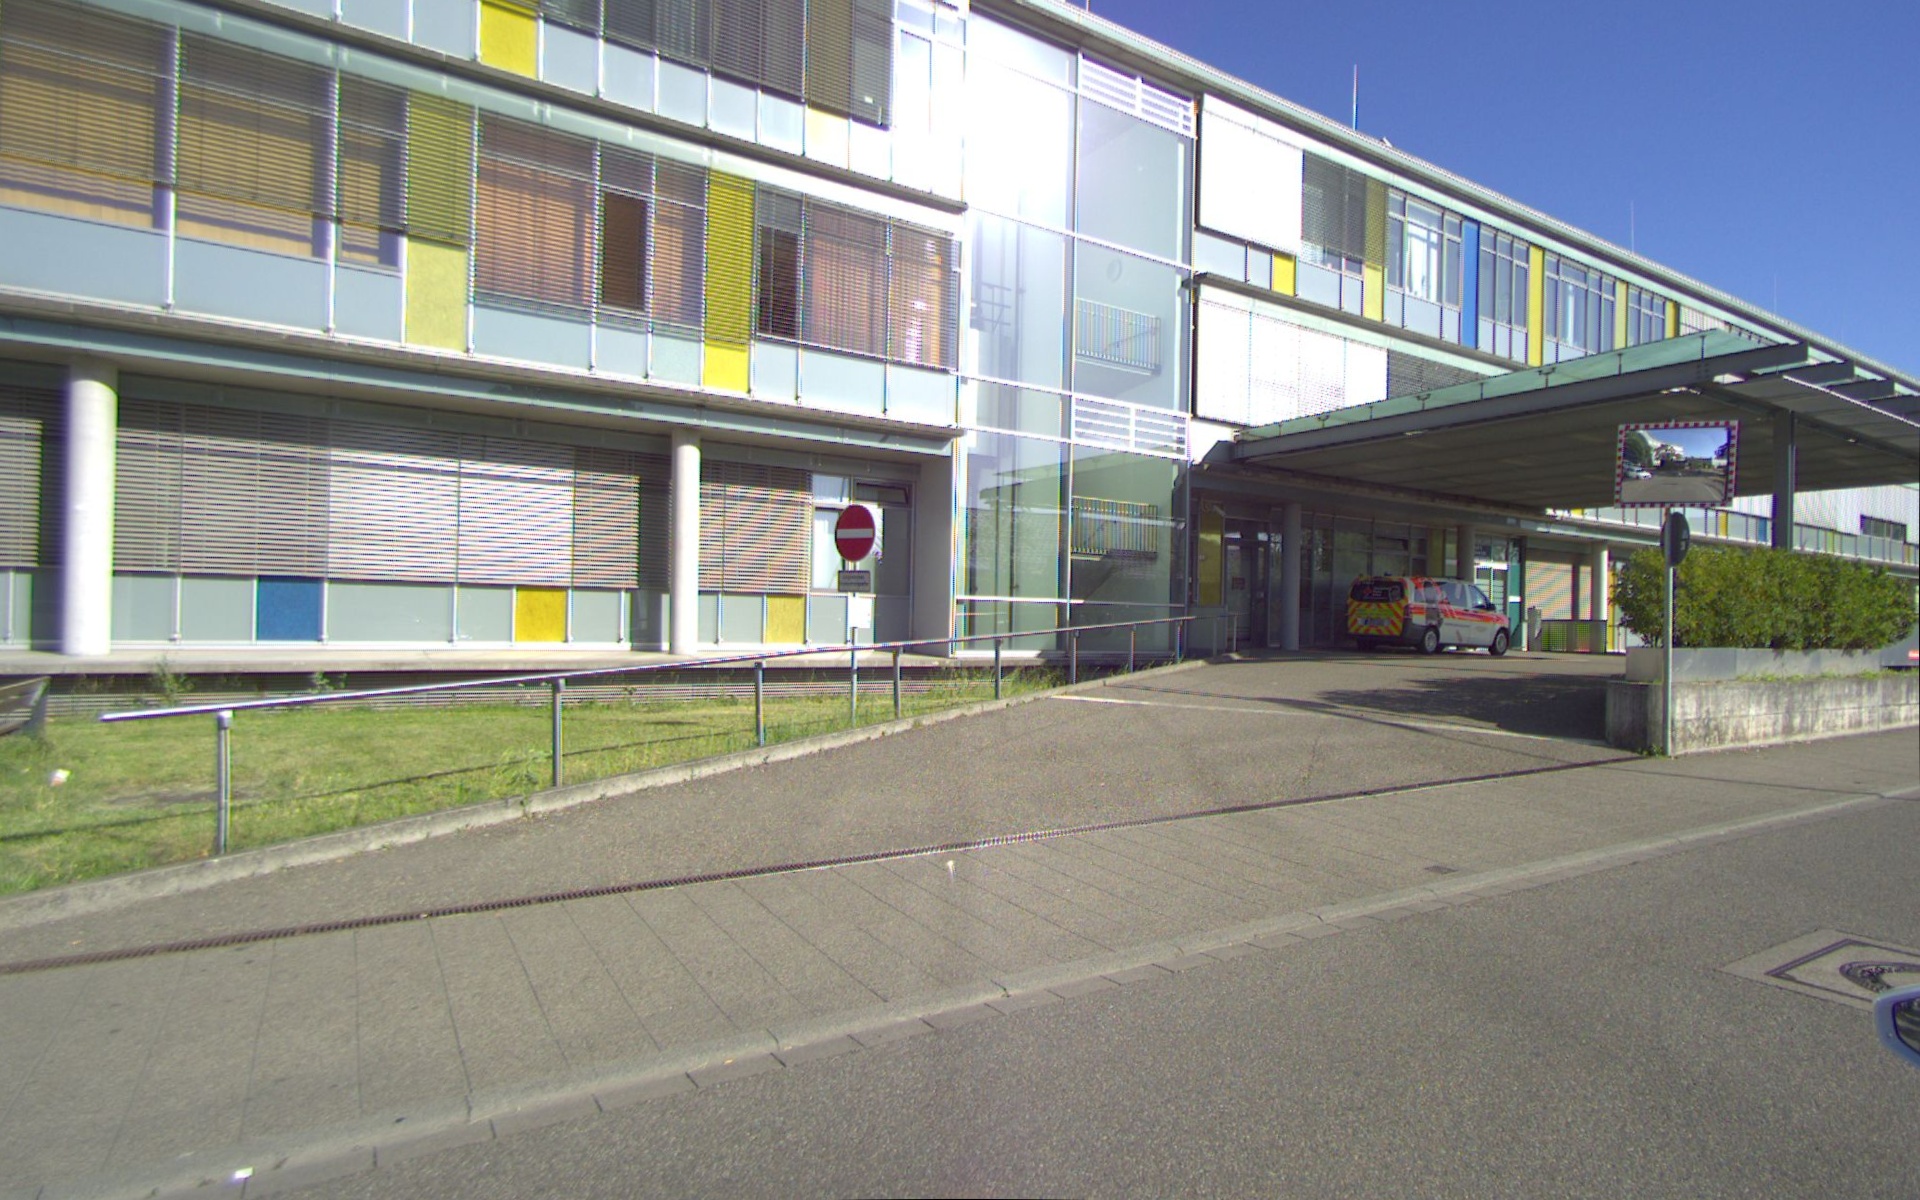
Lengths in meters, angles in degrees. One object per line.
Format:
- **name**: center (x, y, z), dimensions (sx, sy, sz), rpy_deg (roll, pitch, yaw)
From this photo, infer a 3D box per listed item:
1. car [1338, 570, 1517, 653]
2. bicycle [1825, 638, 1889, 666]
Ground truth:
- **car**: center (11.832, 0.323, 25.356), dimensions (4.660, 1.916, 1.909), rpy_deg (1, -1, -32)
- **bicycle**: center (33.730, 1.935, 37.793), dimensions (0.530, 1.007, 1.705), rpy_deg (1, -1, -32)
